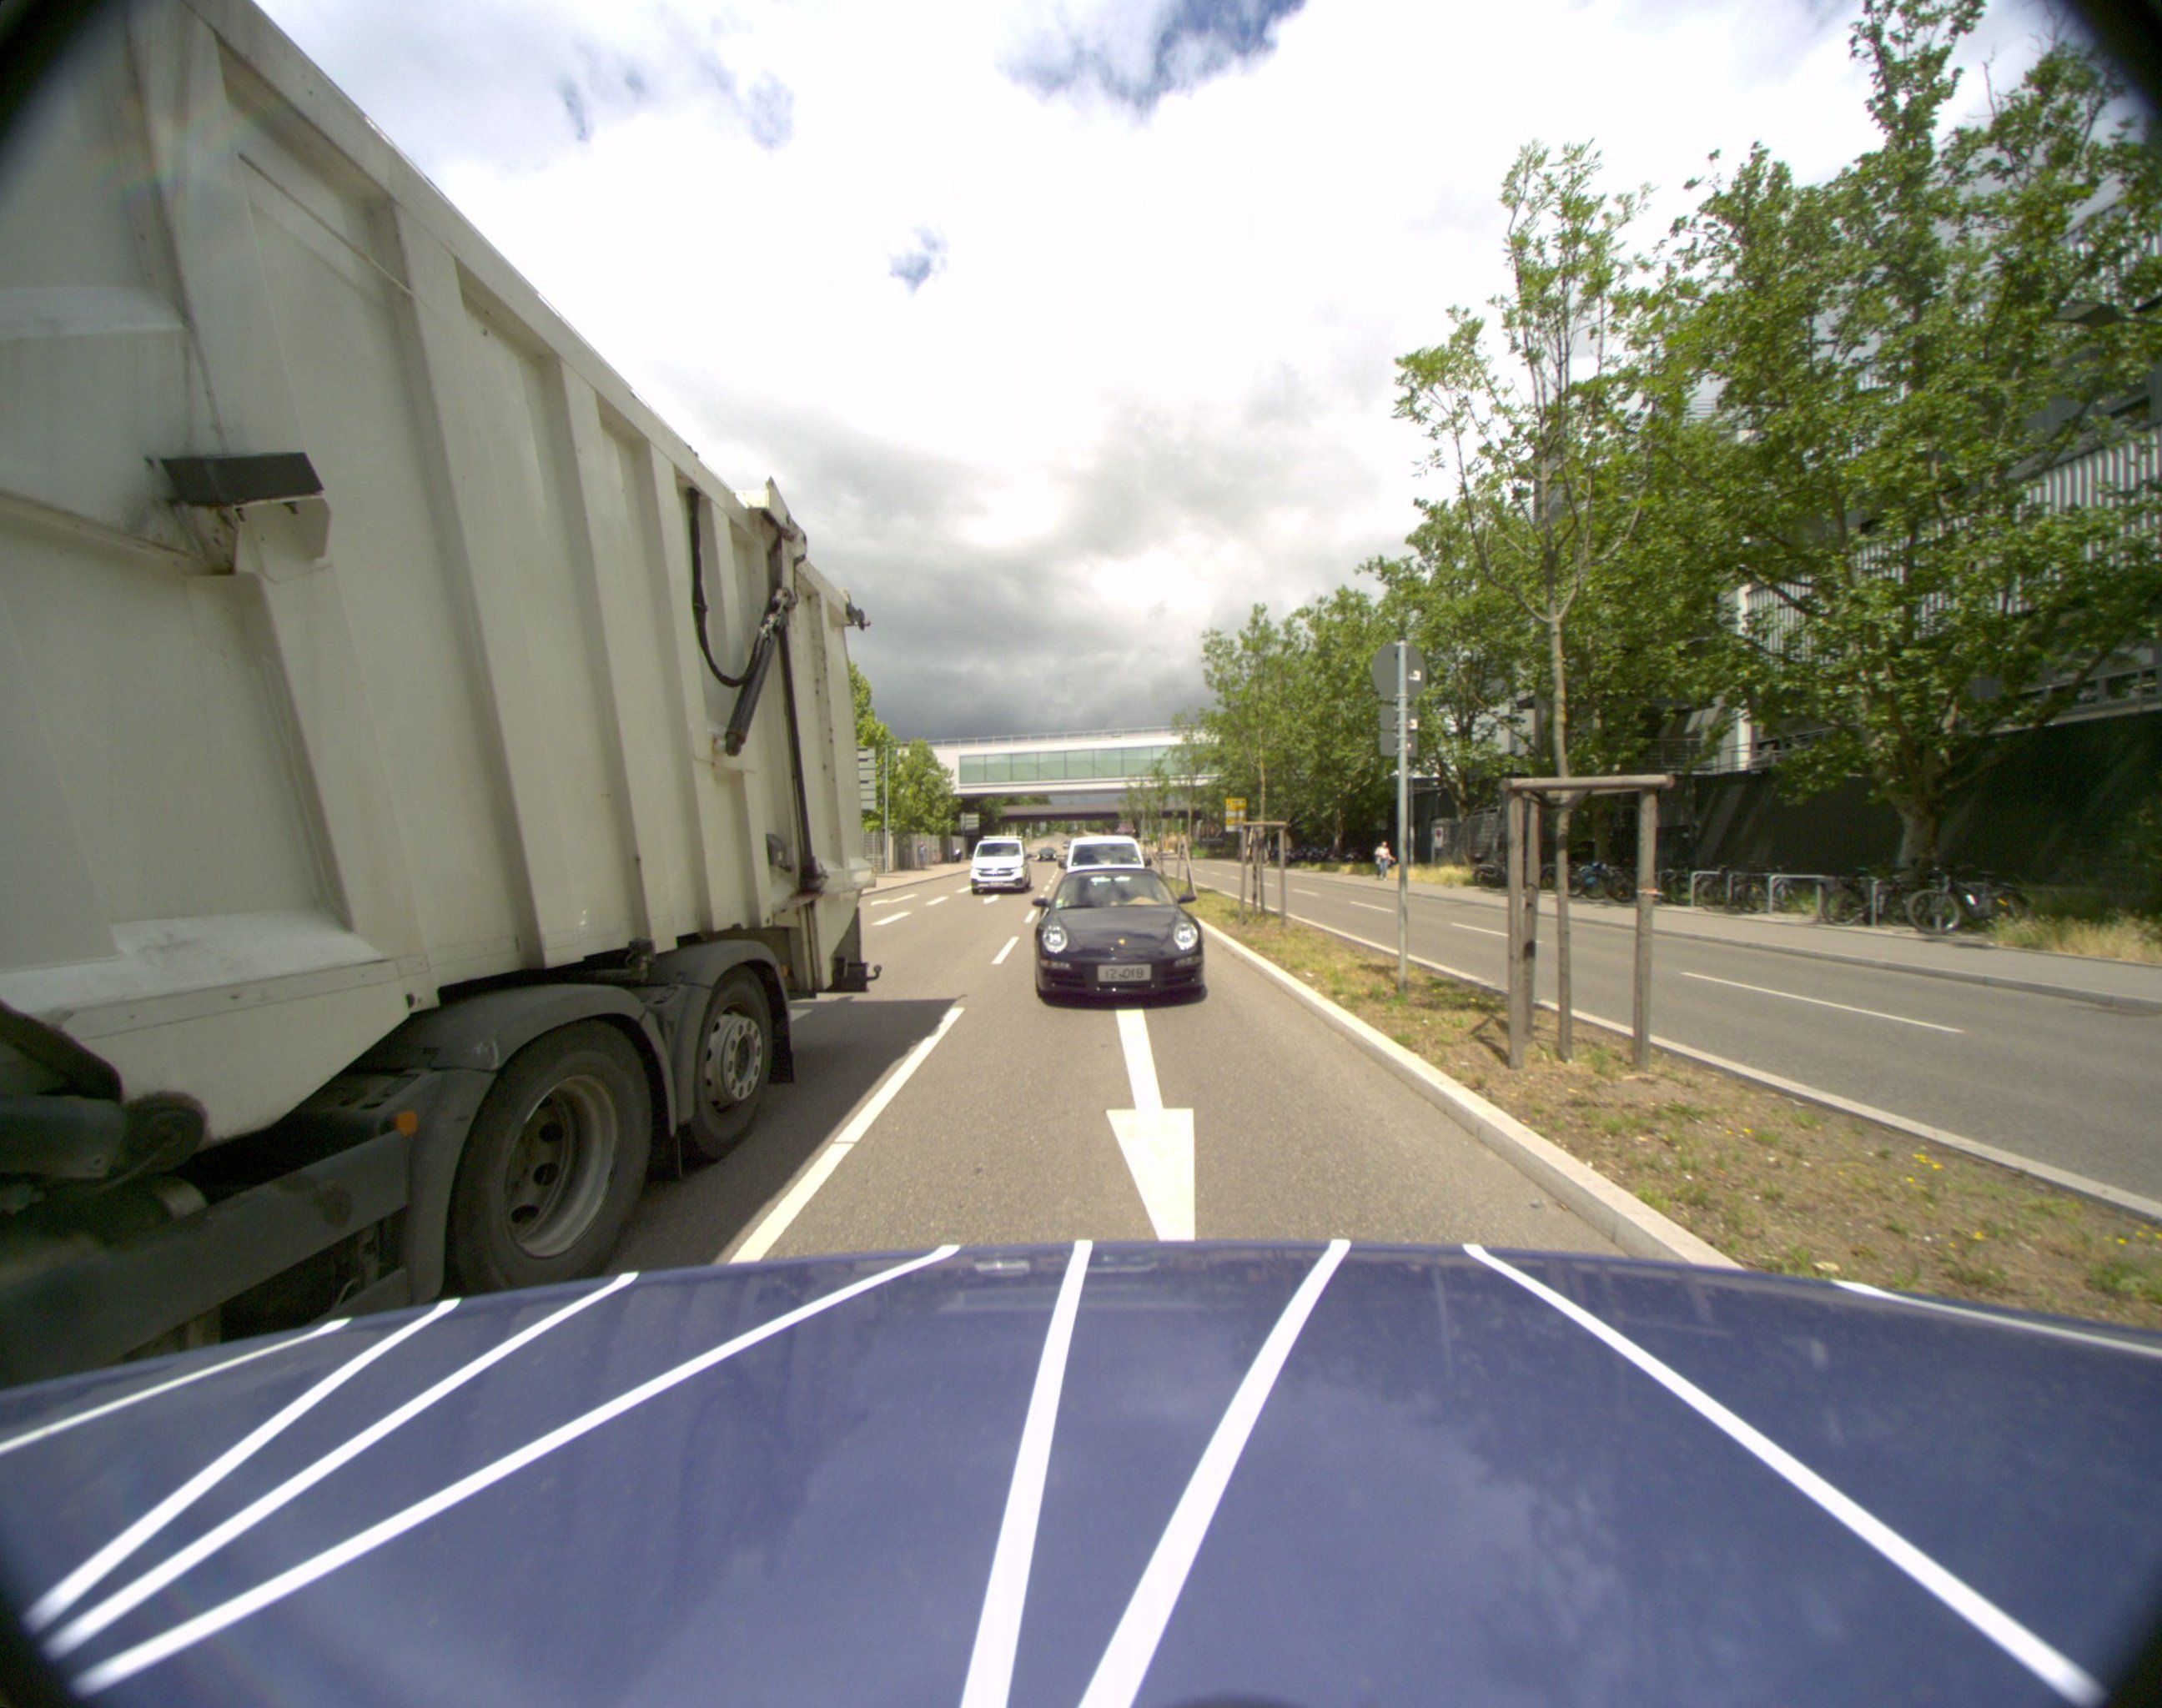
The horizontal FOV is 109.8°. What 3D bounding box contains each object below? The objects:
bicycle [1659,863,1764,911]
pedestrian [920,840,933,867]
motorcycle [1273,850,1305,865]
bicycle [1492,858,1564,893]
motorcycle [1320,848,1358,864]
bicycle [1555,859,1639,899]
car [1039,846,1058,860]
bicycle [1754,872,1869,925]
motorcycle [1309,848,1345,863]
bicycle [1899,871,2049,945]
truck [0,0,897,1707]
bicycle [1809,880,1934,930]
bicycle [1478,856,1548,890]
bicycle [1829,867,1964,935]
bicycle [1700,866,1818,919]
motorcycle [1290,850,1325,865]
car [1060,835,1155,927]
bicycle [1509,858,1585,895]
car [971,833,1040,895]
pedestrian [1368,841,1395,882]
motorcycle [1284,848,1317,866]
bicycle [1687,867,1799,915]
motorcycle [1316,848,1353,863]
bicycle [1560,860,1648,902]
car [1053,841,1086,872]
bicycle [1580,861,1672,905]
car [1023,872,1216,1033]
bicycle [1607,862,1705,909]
[{"bbox_3d":[15.098,0.786,18.216,2.129,1.104,0.382,-1,1,3],"label":"bicycle"},{"bbox_3d":[-10.987,-0.021,54.101,0.739,1.901,0.658,-2,2,-4],"label":"pedestrian"},{"bbox_3d":[14.745,0.237,53.911,2.133,0.963,0.534,-1,1,1],"label":"motorcycle"},{"bbox_3d":[14.814,0.700,25.215,2.129,1.104,0.382,-1,1,3],"label":"bicycle"},{"bbox_3d":[15.486,0.104,45.639,2.133,0.893,0.534,-1,1,1],"label":"motorcycle"},{"bbox_3d":[15.125,0.735,22.280,2.129,1.104,0.382,-1,1,3],"label":"bicycle"},{"bbox_3d":[-3.463,-0.120,82.121,1.862,1.369,4.356,-1,1,-1],"label":"car"},{"bbox_3d":[14.807,0.897,15.415,1.993,0.992,0.382,-1,1,-1],"label":"bicycle"},{"bbox_3d":[15.801,0.095,48.897,2.133,0.963,0.534,-1,1,1],"label":"motorcycle"},{"bbox_3d":[14.430,0.865,12.295,1.993,1.122,0.382,-1,1,-1],"label":"bicycle"},{"bbox_3d":[-3.005,-0.213,1.874,2.495,3.891,10.171,-2,1,0],"label":"truck"},{"bbox_3d":[15.010,0.964,14.437,1.993,0.886,0.382,-1,1,-1],"label":"bicycle"},{"bbox_3d":[14.811,0.656,26.056,2.129,1.104,0.382,-1,1,3],"label":"bicycle"},{"bbox_3d":[14.406,0.828,13.433,1.993,1.122,0.382,-1,1,-1],"label":"bicycle"},{"bbox_3d":[14.633,0.832,16.416,2.129,1.090,0.382,-1,1,3],"label":"bicycle"},{"bbox_3d":[15.224,0.236,51.110,2.133,0.963,0.534,-1,1,1],"label":"motorcycle"},{"bbox_3d":[0.558,0.524,17.679,1.862,1.800,4.906,-1,1,1],"label":"car"},{"bbox_3d":[14.883,0.721,24.292,2.129,1.104,0.382,-1,1,3],"label":"bicycle"},{"bbox_3d":[-2.705,0.320,28.192,1.925,2.082,4.656,-1,1,2],"label":"car"},{"bbox_3d":[12.749,0.300,32.235,0.900,1.711,0.672,-1,1,1],"label":"pedestrian"},{"bbox_3d":[15.097,0.194,52.236,2.133,1.131,0.534,-1,1,1],"label":"motorcycle"},{"bbox_3d":[15.066,0.836,17.310,2.129,1.025,0.382,-1,1,3],"label":"bicycle"},{"bbox_3d":[15.836,0.104,47.548,2.133,0.880,0.534,-1,1,1],"label":"motorcycle"},{"bbox_3d":[14.563,0.757,21.166,2.129,1.104,0.382,-1,1,3],"label":"bicycle"},{"bbox_3d":[-0.668,0.138,48.387,1.862,1.800,4.357,-3,1,1],"label":"car"},{"bbox_3d":[14.537,0.773,20.279,2.129,1.104,0.382,-1,1,3],"label":"bicycle"},{"bbox_3d":[0.374,0.937,8.763,1.710,1.281,3.806,-1,1,1],"label":"car"},{"bbox_3d":[14.557,0.794,19.255,2.129,1.104,0.382,-1,1,3],"label":"bicycle"}]
